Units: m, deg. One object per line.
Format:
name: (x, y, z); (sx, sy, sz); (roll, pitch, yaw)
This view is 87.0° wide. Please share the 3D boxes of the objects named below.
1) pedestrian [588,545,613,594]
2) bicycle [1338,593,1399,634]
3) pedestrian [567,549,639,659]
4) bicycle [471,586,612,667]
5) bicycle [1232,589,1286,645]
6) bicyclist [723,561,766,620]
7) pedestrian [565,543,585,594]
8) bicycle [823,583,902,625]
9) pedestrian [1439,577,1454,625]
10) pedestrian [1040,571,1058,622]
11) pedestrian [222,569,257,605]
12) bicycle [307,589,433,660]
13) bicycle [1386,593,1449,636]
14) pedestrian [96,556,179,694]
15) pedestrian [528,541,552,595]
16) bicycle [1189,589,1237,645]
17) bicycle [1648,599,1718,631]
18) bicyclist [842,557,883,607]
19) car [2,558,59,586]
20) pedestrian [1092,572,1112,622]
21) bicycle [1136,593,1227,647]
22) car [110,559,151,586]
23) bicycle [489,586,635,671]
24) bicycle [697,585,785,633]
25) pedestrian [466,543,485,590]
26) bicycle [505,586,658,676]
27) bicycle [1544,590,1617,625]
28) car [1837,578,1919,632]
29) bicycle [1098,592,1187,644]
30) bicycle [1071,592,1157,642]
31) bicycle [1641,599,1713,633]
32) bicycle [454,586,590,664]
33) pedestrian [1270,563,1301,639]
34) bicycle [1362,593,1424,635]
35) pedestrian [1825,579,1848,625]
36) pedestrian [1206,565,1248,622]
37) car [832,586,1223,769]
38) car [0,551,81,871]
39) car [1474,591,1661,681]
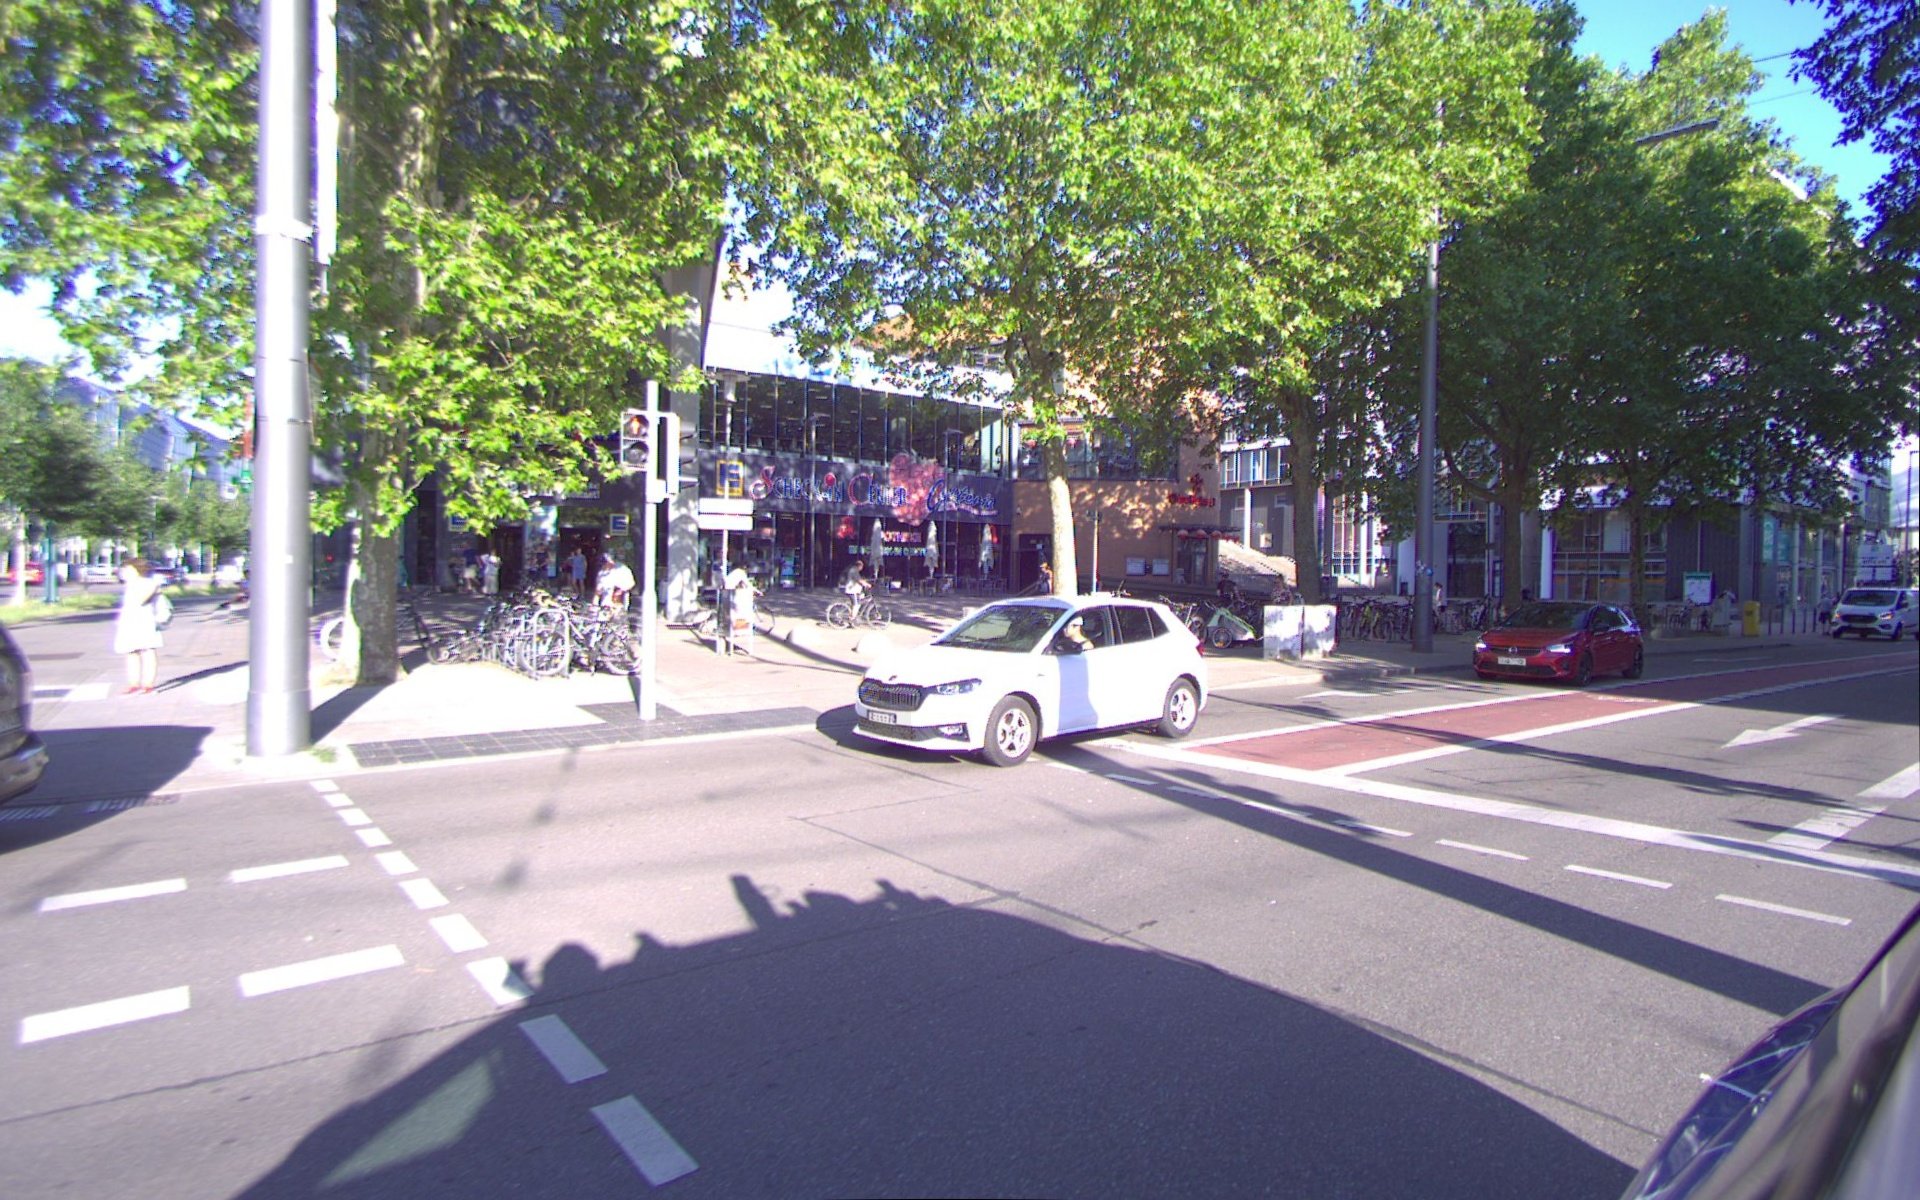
pedestrian: (-12.466, -1.069, 35.134); (0.555, 1.677, 0.589); (1, 1, 21)
bicycle: (11.173, 0.360, 27.674); (1.909, 1.077, 0.578); (0, 1, -35)
pedestrian: (-5.998, 0.069, 17.000); (0.727, 1.787, 0.881); (0, -1, 38)
bicycle: (-6.275, 0.370, 15.222); (1.810, 1.143, 0.775); (0, 2, -40)
bicycle: (7.146, 0.356, 24.360); (0.771, 1.204, 3.549); (1, 1, 9)
bicyclist: (-5.113, -0.237, 24.026); (0.939, 1.361, 0.676); (1, 1, -8)
pedestrian: (-12.917, -1.061, 33.993); (0.583, 1.677, 0.594); (1, 1, -17)
bicycle: (-2.608, 0.113, 27.022); (1.972, 1.080, 0.697); (1, 1, -20)
pedestrian: (16.122, 0.035, 33.519); (0.406, 1.574, 0.444); (1, 1, 25)
pedestrian: (2.984, -0.113, 33.819); (0.534, 1.690, 0.569); (1, 1, 7)
pedestrian: (-22.242, -0.401, 31.237); (0.679, 1.094, 0.765); (2, 1, 43)
bicycle: (-9.243, 0.370, 15.883); (1.667, 1.049, 0.549); (0, 1, -35)
bicycle: (11.965, 0.377, 26.449); (1.909, 1.077, 0.578); (0, 1, -35)
pedestrian: (-9.513, 0.284, 11.715); (0.561, 1.557, 0.485); (1, 1, -4)
pedestrian: (-14.034, -1.078, 33.807); (0.581, 1.777, 0.596); (1, 1, -4)
bicycle: (5.997, 0.352, 24.203); (0.771, 1.204, 3.549); (1, 1, 9)
bicycle: (25.948, 0.523, 36.349); (0.568, 1.077, 1.943); (0, 1, -42)
bicyclist: (-2.607, -0.479, 27.007); (0.939, 1.316, 0.676); (1, 1, -20)
car: (-57.176, -1.734, 62.313); (1.639, 1.660, 4.006); (0, 1, -29)
pedestrian: (4.895, -0.115, 34.889); (0.533, 1.690, 0.571); (1, 1, -6)
bicycle: (4.709, 0.396, 21.434); (1.909, 1.077, 0.784); (0, 1, -35)
car: (-64.205, -2.132, 78.365); (1.579, 2.038, 3.894); (0, 1, -26)
bicycle: (-5.723, 0.380, 14.592); (1.810, 1.143, 0.775); (0, 2, -40)
bicycle: (-5.176, 0.202, 24.022); (1.973, 1.080, 0.697); (1, 1, -8)
pedestrian: (-16.677, -1.146, 34.838); (0.349, 1.620, 0.453); (2, 1, 36)
bicycle: (-5.179, 0.390, 13.888); (1.810, 1.143, 0.775); (0, 2, -40)
bicycle: (20.319, 0.217, 33.157); (0.568, 1.077, 1.943); (0, 1, -42)
car: (35.983, 0.159, 39.038); (4.869, 1.970, 1.974); (0, 1, -33)
bicycle: (3.998, 0.384, 22.151); (1.909, 1.077, 0.784); (0, 1, -35)
bicycle: (3.492, 0.374, 22.864); (1.909, 1.077, 0.784); (0, 1, -35)
bicycle: (24.498, 0.535, 34.603); (0.568, 1.077, 1.943); (0, 1, -42)
bicycle: (-6.854, 0.360, 15.879); (1.810, 1.143, 0.775); (0, 2, -40)
pedestrian: (7.407, 0.017, 23.021); (0.564, 1.690, 0.539); (1, 1, 25)
bicycle: (11.533, 0.369, 26.964); (1.909, 1.077, 0.578); (0, 1, -35)
pedestrian: (35.115, 0.082, 40.531); (0.582, 1.821, 0.561); (0, 1, -39)
pedestrian: (7.514, -0.181, 28.447); (0.860, 1.561, 0.765); (0, 1, -41)
car: (0.813, 0.615, 10.125); (3.931, 1.470, 1.633); (0, 1, -42)
car: (-6.857, 0.539, 4.551); (4.090, 1.623, 1.621); (1, 0, -27)
car: (10.999, 0.569, 18.226); (3.929, 1.446, 1.690); (0, 1, -40)
